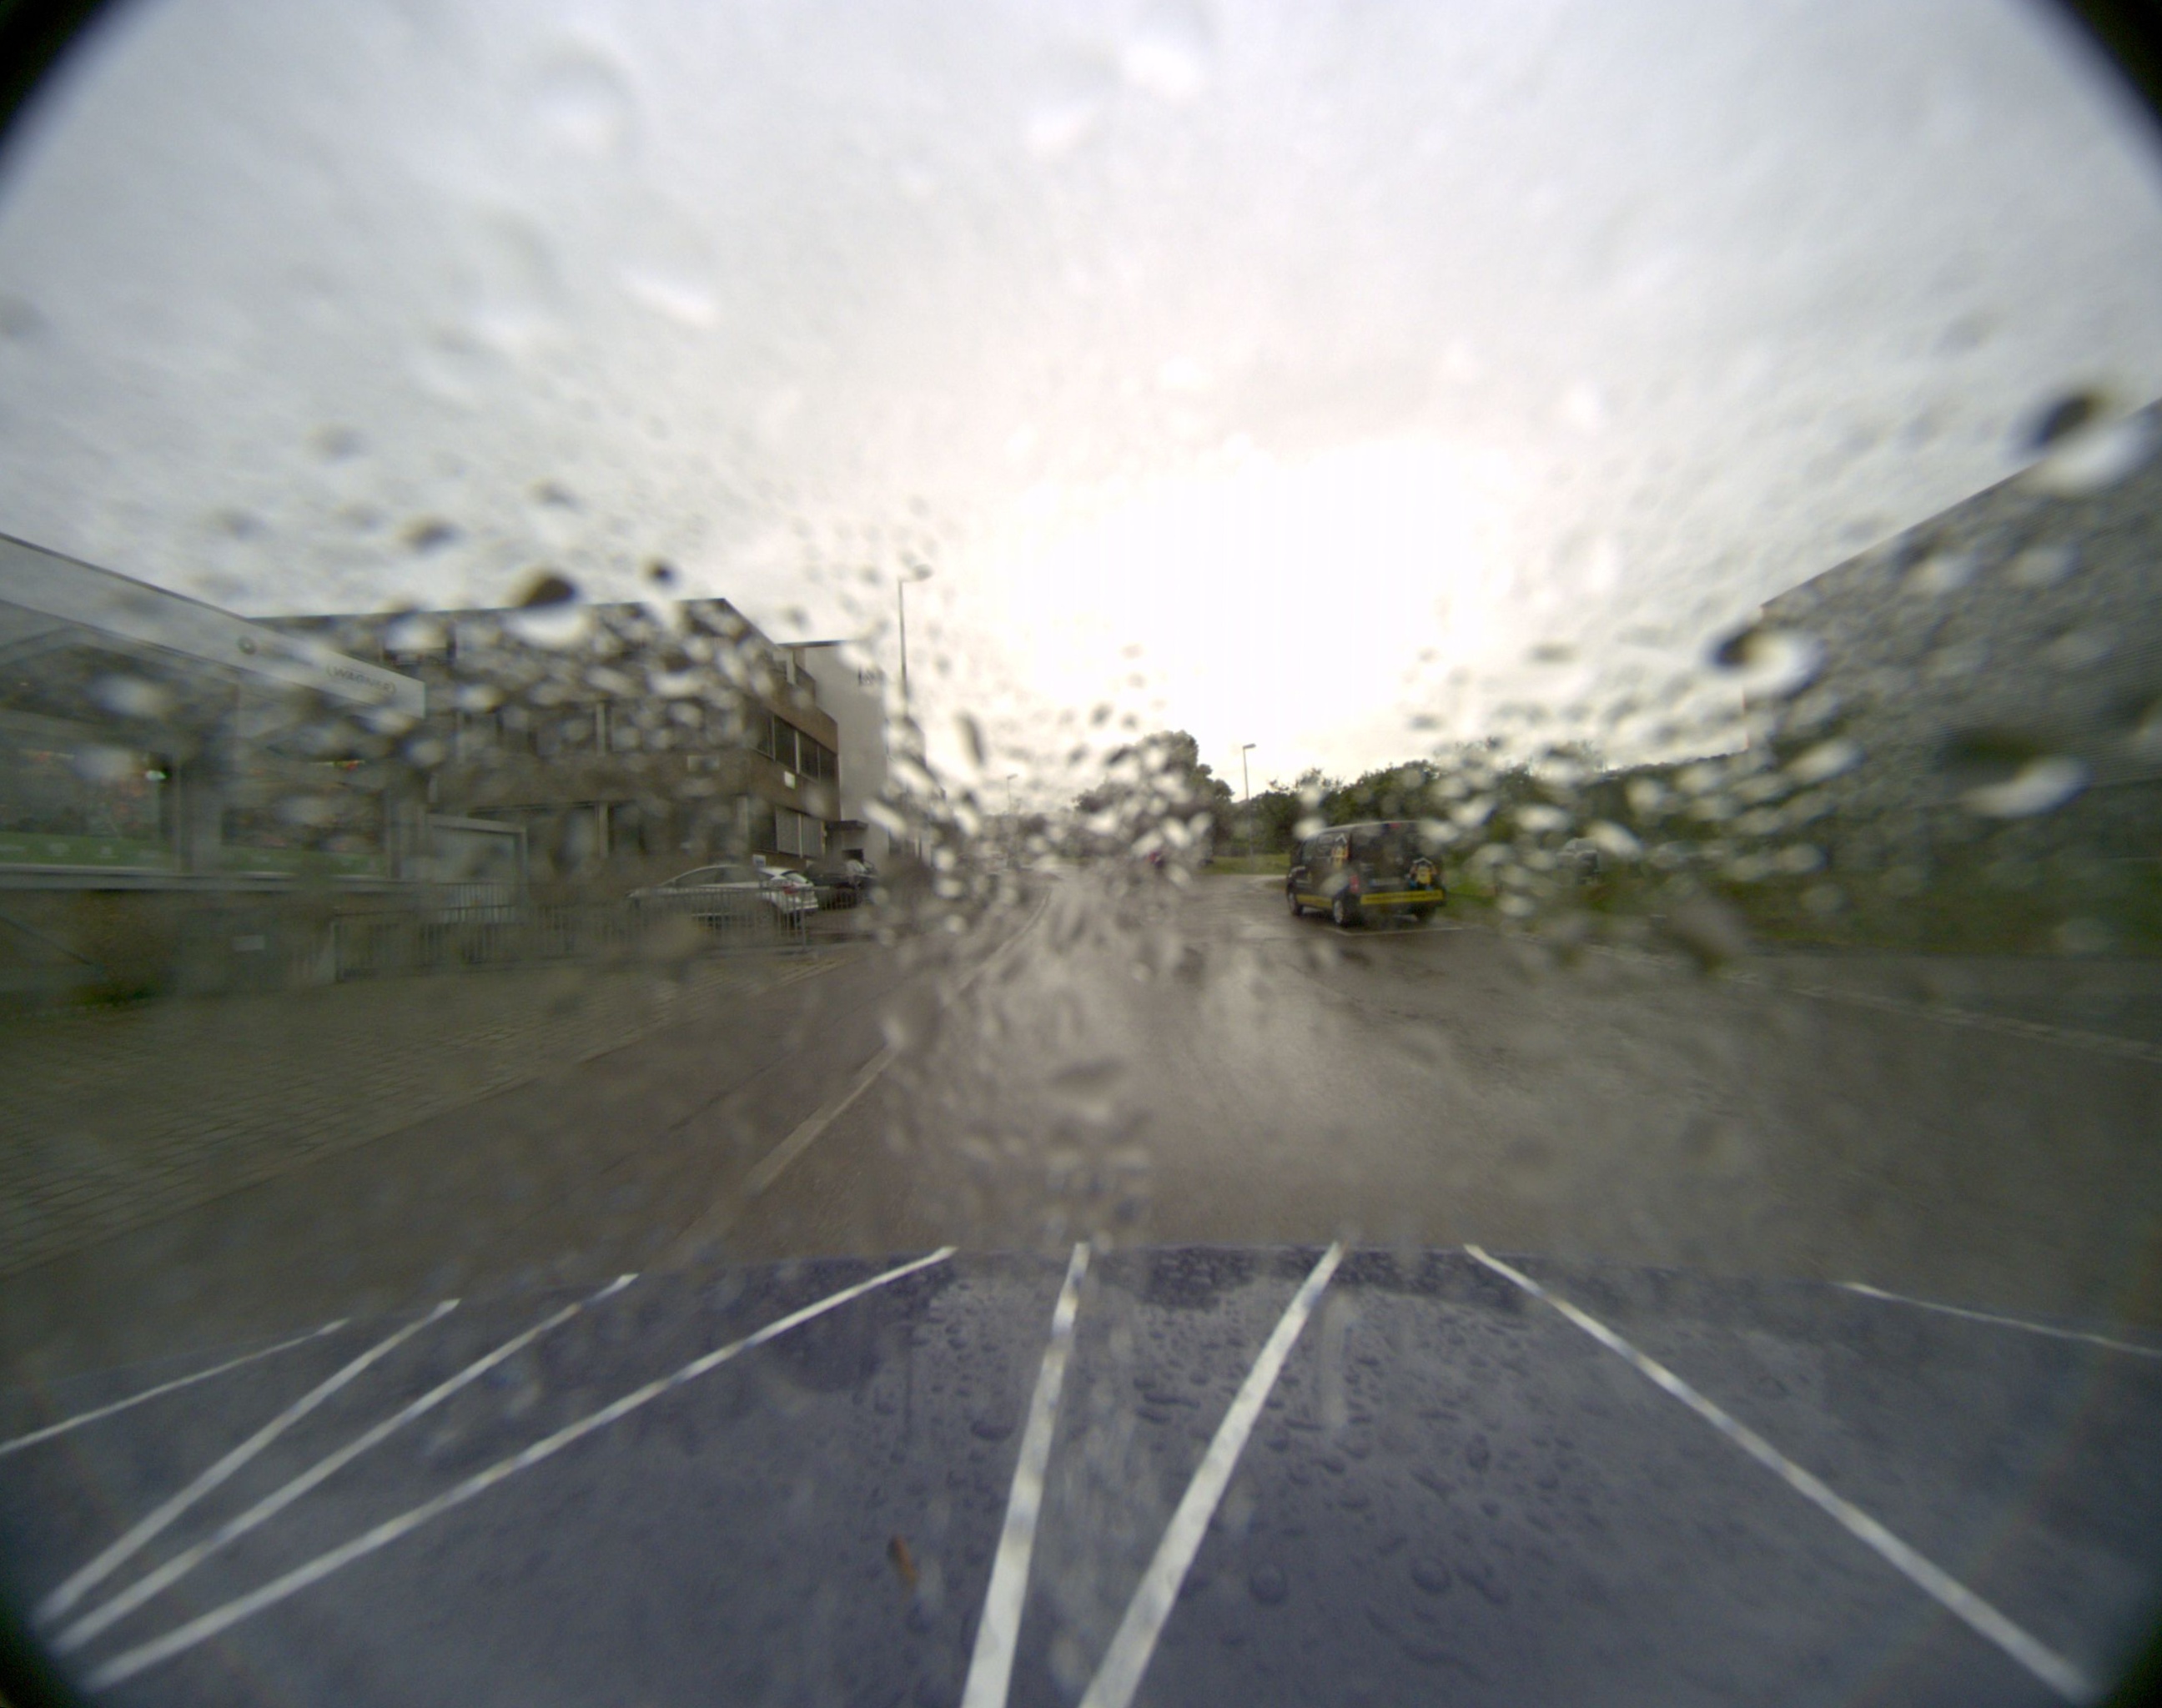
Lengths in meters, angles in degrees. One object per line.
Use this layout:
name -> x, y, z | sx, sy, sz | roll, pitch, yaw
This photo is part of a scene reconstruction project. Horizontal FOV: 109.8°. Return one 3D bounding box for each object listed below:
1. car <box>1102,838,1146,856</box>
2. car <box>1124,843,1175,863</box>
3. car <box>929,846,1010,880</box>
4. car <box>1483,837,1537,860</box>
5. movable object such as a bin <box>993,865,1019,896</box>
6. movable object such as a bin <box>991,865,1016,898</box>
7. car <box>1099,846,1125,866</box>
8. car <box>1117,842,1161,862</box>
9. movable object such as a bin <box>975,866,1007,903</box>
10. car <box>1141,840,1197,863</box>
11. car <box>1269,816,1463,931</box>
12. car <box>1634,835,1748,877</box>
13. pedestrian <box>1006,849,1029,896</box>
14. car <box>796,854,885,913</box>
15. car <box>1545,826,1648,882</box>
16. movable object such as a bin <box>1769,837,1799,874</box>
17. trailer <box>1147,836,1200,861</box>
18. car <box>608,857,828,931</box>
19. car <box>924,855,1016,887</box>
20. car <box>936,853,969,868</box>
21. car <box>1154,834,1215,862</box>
car -> 4.728, -0.776, 83.852 | 4.381, 1.712, 2.043 | -2, 1, -8
car -> 6.564, -0.096, 73.068 | 4.631, 1.581, 1.805 | -4, 1, -4
car -> -6.319, 0.499, 43.439 | 4.353, 1.763, 2.088 | -2, 1, -3
car -> 43.567, -0.576, 77.236 | 4.493, 2.207, 1.932 | -1, 0, 17
movable object such as a bin -> -2.617, 0.915, 26.639 | 0.773, 1.024, 0.808 | -3, 1, 0
movable object such as a bin -> -2.647, 0.931, 25.903 | 0.745, 1.060, 0.636 | -3, 1, 0
car -> 2.627, 0.115, 64.515 | 1.752, 1.500, 3.933 | -3, 1, -4
car -> 5.777, -0.203, 75.898 | 4.085, 1.712, 2.024 | -4, 1, -3
movable object such as a bin -> -2.824, 0.953, 23.930 | 0.730, 1.107, 0.704 | -3, 1, 14
car -> 7.235, -0.232, 62.738 | 4.209, 1.712, 1.754 | -2, 1, -7
car -> 5.355, 0.308, 15.077 | 1.920, 1.821, 4.847 | -3, 1, -1
car -> 22.228, 0.044, 27.934 | 1.995, 1.388, 4.697 | -1, 0, 22
pedestrian -> -2.432, 0.706, 29.122 | 0.738, 1.757, 0.808 | -3, 1, 0
car -> -8.253, 0.936, 26.508 | 1.753, 1.740, 4.472 | -2, 1, -2
car -> 20.091, 0.058, 29.909 | 2.131, 1.910, 5.620 | -3, -2, 22
movable object such as a bin -> 22.427, 0.058, 24.246 | 0.555, 1.159, 0.568 | -1, 0, 24
trailer -> 8.012, -0.478, 65.743 | 4.224, 1.973, 1.773 | -2, 1, -4
car -> -8.305, 0.876, 17.726 | 4.132, 1.565, 2.003 | 0, 1, -2
car -> -5.817, 0.878, 40.387 | 4.609, 1.529, 2.078 | -1, 0, -2
car -> -14.665, 0.714, 86.433 | 1.861, 1.576, 4.314 | -3, 4, -37
car -> 7.831, -0.459, 57.670 | 4.310, 1.895, 1.861 | -2, 1, 1
